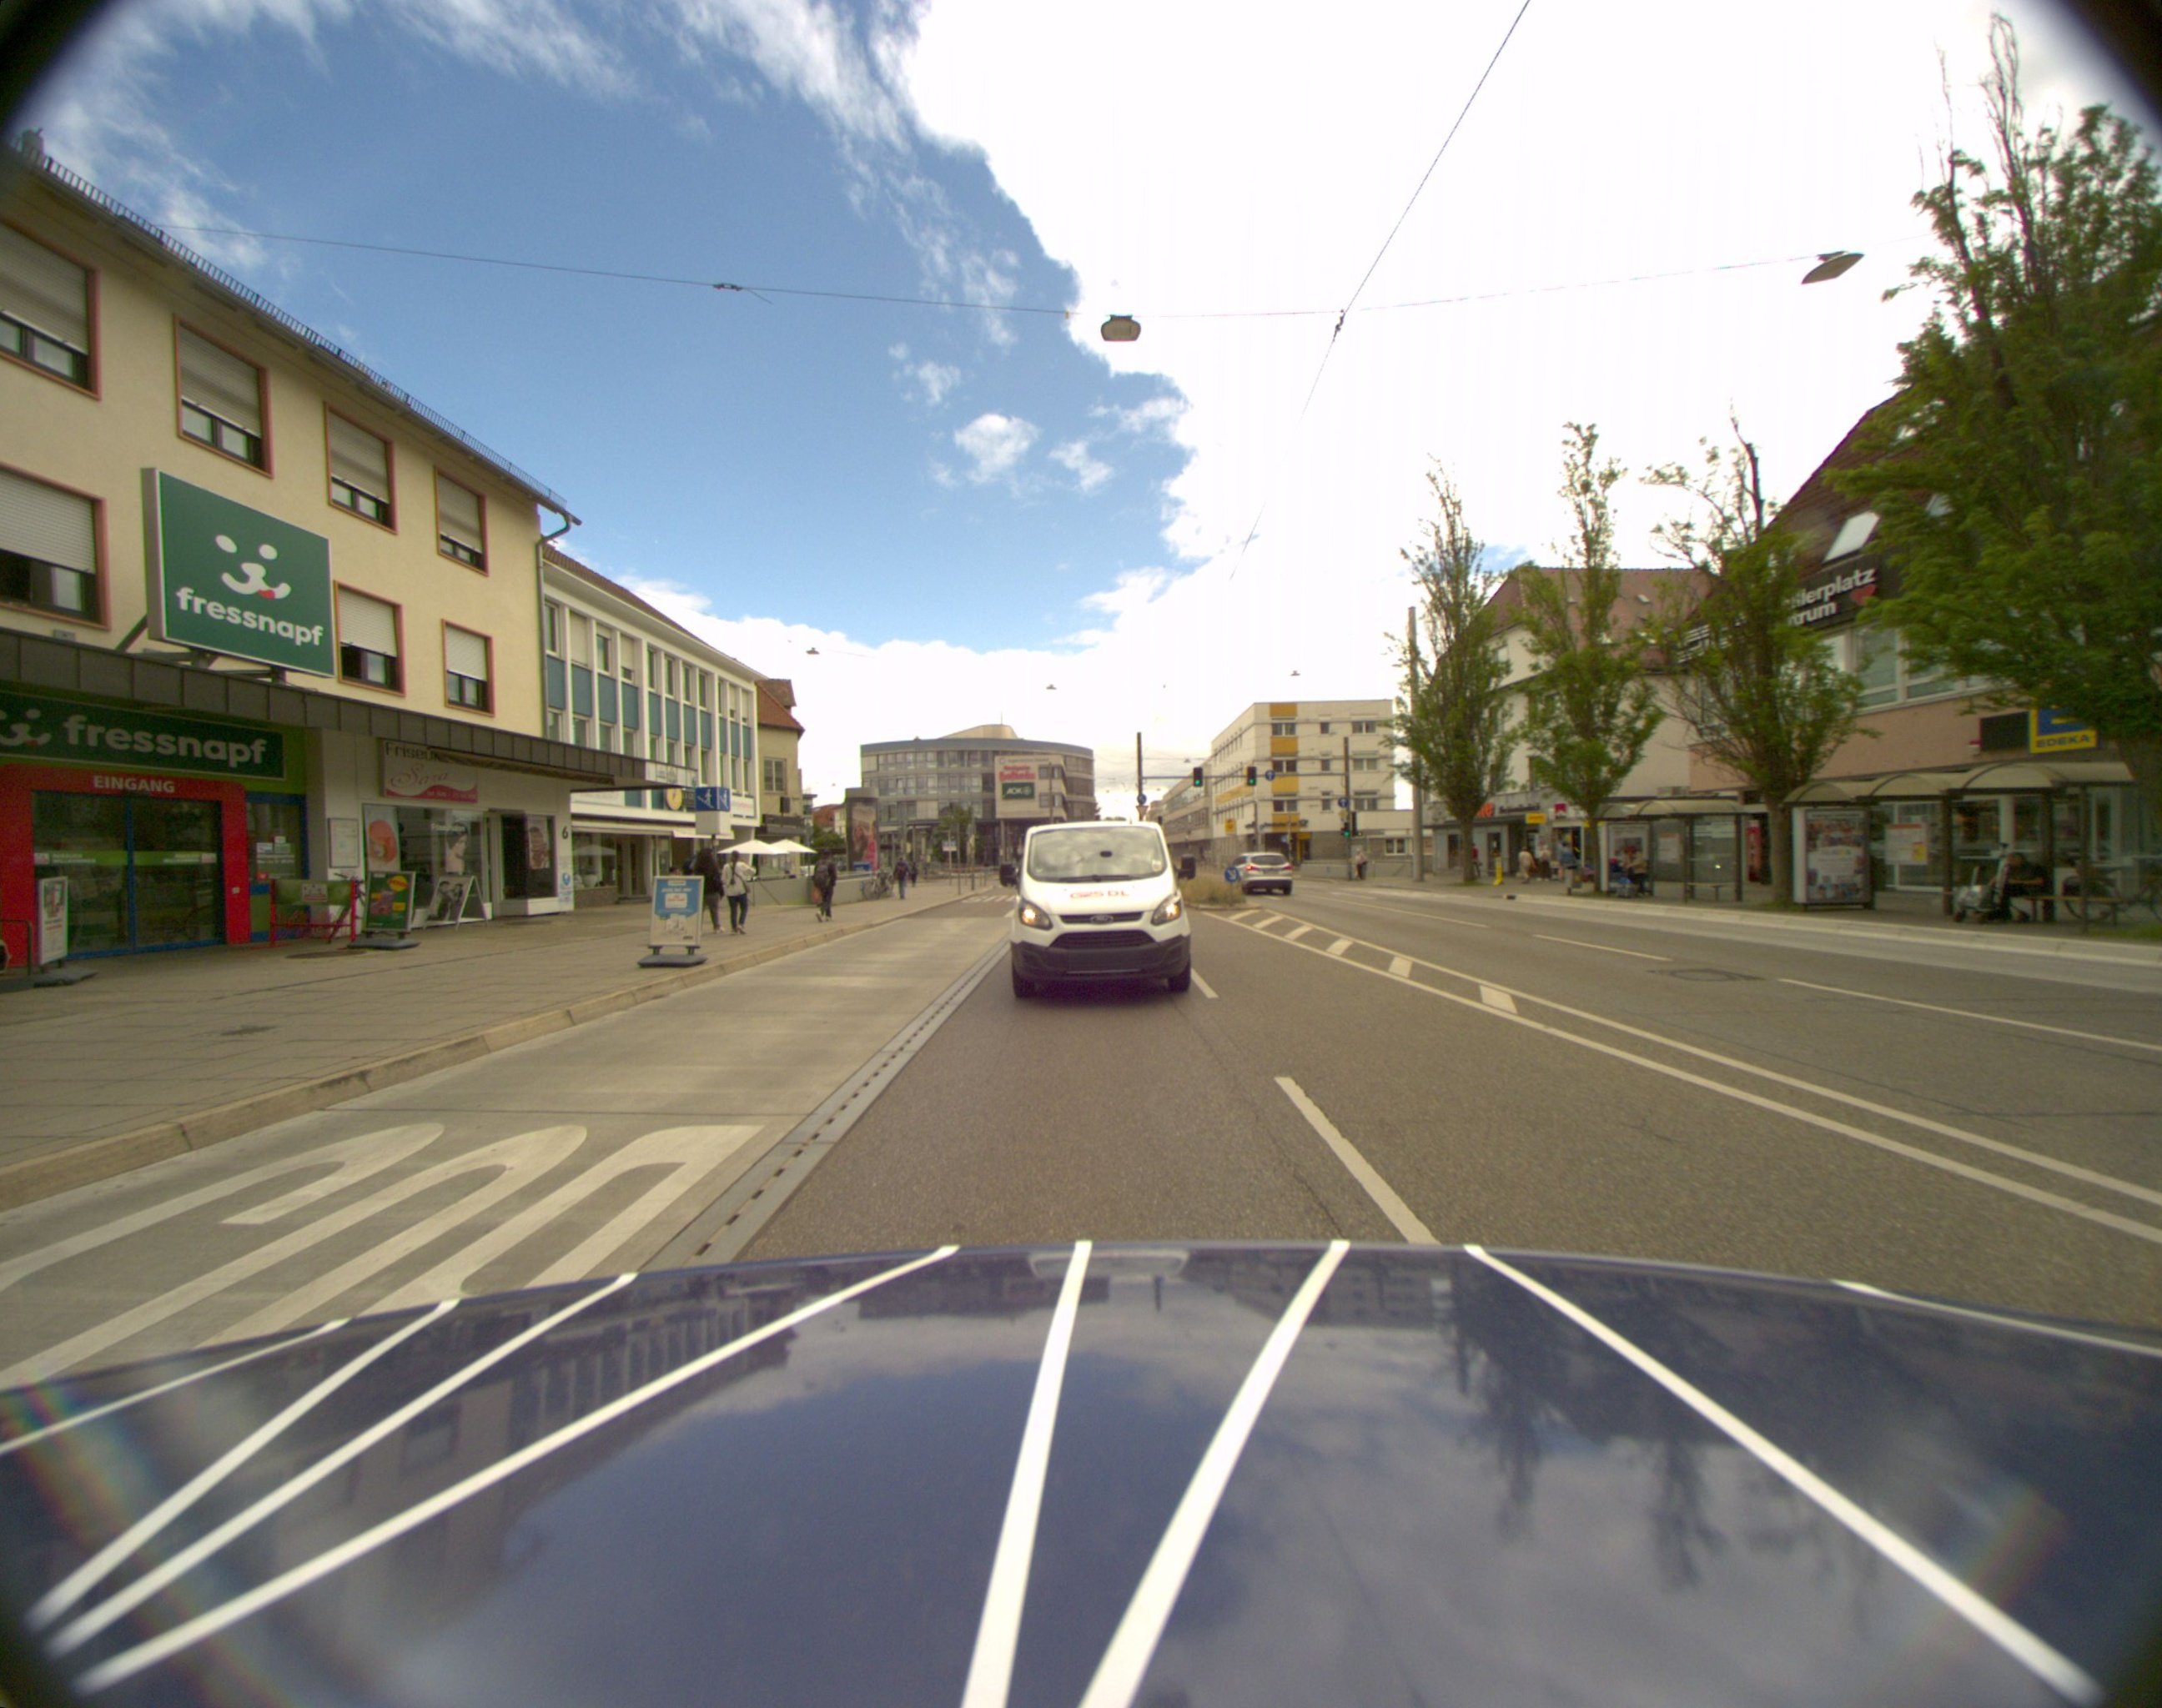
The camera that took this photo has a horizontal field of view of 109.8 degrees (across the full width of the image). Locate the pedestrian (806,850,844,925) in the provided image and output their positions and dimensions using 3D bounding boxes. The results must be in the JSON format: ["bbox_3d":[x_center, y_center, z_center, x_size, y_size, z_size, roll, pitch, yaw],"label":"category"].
[{"bbox_3d":[-5.806,0.752,17.256,0.613,1.668,0.615,-1,0,3],"label":"pedestrian"}]

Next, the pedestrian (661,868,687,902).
[{"bbox_3d":[-15.140,1.136,28.254,0.614,1.213,0.588,-2,0,-1],"label":"pedestrian"}]

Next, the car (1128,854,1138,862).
[{"bbox_3d":[11.887,0.883,172.779,2.074,1.728,4.693,0,0,2],"label":"car"}]

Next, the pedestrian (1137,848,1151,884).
[{"bbox_3d":[2.895,0.569,34.948,0.504,1.625,0.663,-1,0,-5],"label":"pedestrian"}]

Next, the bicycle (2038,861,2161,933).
[{"bbox_3d":[16.979,0.674,12.289,0.535,1.084,1.930,-2,0,-1],"label":"bicycle"}]

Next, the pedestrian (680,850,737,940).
[{"bbox_3d":[-6.900,0.743,14.098,0.720,1.625,0.615,-1,1,-2],"label":"pedestrian"}]

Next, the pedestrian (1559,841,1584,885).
[{"bbox_3d":[19.423,0.341,30.107,0.587,1.702,0.615,-1,1,-1],"label":"pedestrian"}]

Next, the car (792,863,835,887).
[{"bbox_3d":[-22.585,1.747,64.037,1.884,1.884,4.915,-3,0,-38],"label":"car"}]

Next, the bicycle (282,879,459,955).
[{"bbox_3d":[-11.681,0.989,12.642,0.743,1.056,2.351,0,0,-1],"label":"bicycle"}]

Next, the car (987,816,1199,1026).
[{"bbox_3d":[0.283,0.672,9.941,1.998,2.002,5.001,-2,0,4],"label":"car"}]

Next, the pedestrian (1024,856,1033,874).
[{"bbox_3d":[-5.121,1.082,73.800,0.589,1.625,0.525,-5,0,-44],"label":"pedestrian"}]

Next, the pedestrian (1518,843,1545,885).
[{"bbox_3d":[18.207,0.410,30.734,0.587,1.625,0.615,-4,0,-1],"label":"pedestrian"}]

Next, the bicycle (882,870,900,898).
[{"bbox_3d":[-7.417,1.169,29.629,0.274,1.047,1.387,-1,0,2],"label":"bicycle"}]

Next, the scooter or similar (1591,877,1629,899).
[{"bbox_3d":[15.296,0.980,21.970,0.593,0.598,0.702,-2,0,0],"label":"scooter or similar"}]

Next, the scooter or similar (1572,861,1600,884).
[{"bbox_3d":[19.613,0.713,29.499,0.593,0.843,0.702,-2,0,0],"label":"scooter or similar"}]

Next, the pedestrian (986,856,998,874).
[{"bbox_3d":[-8.398,1.052,71.903,0.847,1.625,0.644,-5,0,-32],"label":"pedestrian"}]

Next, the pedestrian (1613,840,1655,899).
[{"bbox_3d":[15.883,0.445,21.844,0.588,1.642,0.713,-2,0,-17],"label":"pedestrian"}]

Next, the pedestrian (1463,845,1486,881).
[{"bbox_3d":[18.173,0.418,35.099,0.587,1.625,0.615,-4,0,-1],"label":"pedestrian"}]

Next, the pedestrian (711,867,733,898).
[{"bbox_3d":[-14.372,1.132,30.405,0.614,1.213,0.588,0,0,-1],"label":"pedestrian"}]

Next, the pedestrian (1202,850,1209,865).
[{"bbox_3d":[15.082,0.437,92.233,0.587,1.792,0.526,-4,0,1],"label":"pedestrian"}]

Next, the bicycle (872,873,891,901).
[{"bbox_3d":[-7.391,1.202,28.136,0.274,0.968,1.387,-1,0,2],"label":"bicycle"}]

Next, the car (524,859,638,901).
[{"bbox_3d":[-22.241,1.139,33.892,3.974,1.656,1.736,-2,0,4],"label":"car"}]

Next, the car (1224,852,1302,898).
[{"bbox_3d":[6.490,0.688,27.555,1.879,1.497,4.343,0,1,2],"label":"car"}]

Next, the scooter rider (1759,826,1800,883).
[{"bbox_3d":[21.716,0.012,23.638,0.614,1.702,0.588,-4,0,-2],"label":"scooter rider"}]

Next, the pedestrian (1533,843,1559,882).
[{"bbox_3d":[19.743,0.360,32.278,0.587,1.625,0.615,-4,0,-1],"label":"pedestrian"}]

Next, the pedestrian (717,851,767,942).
[{"bbox_3d":[-6.244,0.761,14.017,0.614,1.625,0.615,-1,1,-2],"label":"pedestrian"}]

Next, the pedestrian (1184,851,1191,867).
[{"bbox_3d":[12.148,0.564,86.693,0.587,1.792,0.526,-4,0,1],"label":"pedestrian"}]

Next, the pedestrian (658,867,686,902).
[{"bbox_3d":[-14.821,1.102,27.545,0.614,1.213,0.588,-4,0,-1],"label":"pedestrian"}]

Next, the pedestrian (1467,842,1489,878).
[{"bbox_3d":[19.218,0.307,36.790,0.587,1.702,0.615,-4,0,-1],"label":"pedestrian"}]

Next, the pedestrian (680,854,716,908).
[{"bbox_3d":[-11.801,0.821,23.442,0.668,1.625,0.800,-2,0,-2],"label":"pedestrian"}]

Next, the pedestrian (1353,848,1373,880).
[{"bbox_3d":[14.832,0.541,39.981,0.702,1.625,0.614,-4,0,-10],"label":"pedestrian"}]

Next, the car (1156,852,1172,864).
[{"bbox_3d":[13.847,0.680,126.856,1.999,2.002,4.486,-2,0,-1],"label":"car"}]

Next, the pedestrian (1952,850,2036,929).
[{"bbox_3d":[16.168,0.622,13.470,0.713,1.356,0.588,-2,0,3],"label":"pedestrian"}]

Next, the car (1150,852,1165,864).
[{"bbox_3d":[13.407,0.702,133.050,1.999,2.002,4.486,-2,0,-1],"label":"car"}]

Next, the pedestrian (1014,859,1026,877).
[{"bbox_3d":[-5.713,1.278,70.970,0.808,1.637,0.886,-2,0,-33],"label":"pedestrian"}]

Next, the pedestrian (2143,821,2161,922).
[{"bbox_3d":[19.143,0.287,13.018,0.727,1.753,0.755,-4,0,-1],"label":"pedestrian"}]

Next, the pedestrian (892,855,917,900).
[{"bbox_3d":[-6.565,0.854,28.219,0.689,1.625,0.853,-1,0,0],"label":"pedestrian"}]

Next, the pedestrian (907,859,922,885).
[{"bbox_3d":[-10.601,1.150,48.356,0.589,1.613,0.743,-5,0,-31],"label":"pedestrian"}]
